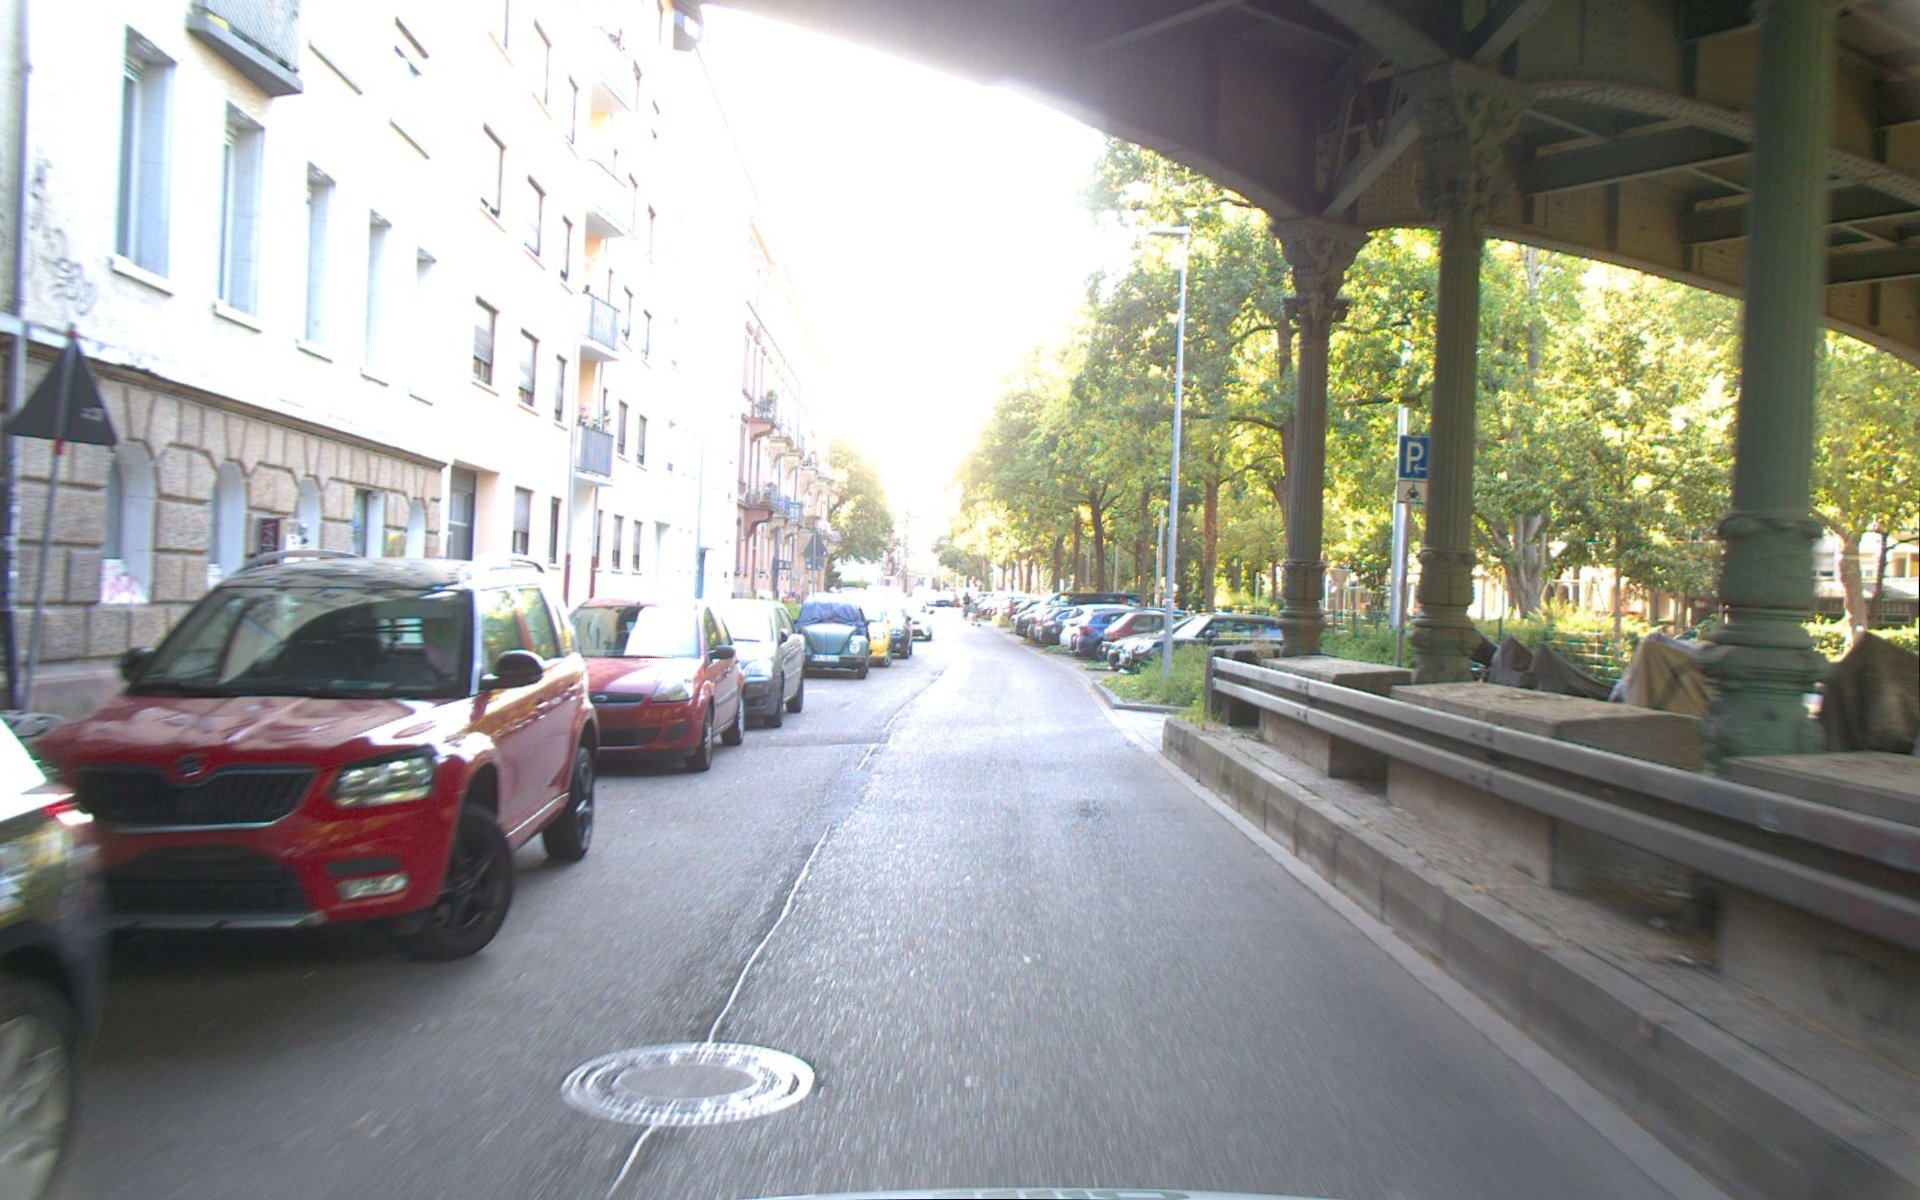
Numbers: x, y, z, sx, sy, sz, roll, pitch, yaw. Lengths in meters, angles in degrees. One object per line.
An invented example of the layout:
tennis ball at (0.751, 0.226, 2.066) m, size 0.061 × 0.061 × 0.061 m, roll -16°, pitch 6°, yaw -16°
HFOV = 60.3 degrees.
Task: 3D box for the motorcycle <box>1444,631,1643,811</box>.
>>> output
motorcycle at (5.146, 1.048, 14.640) m, size 1.567 × 1.433 × 0.712 m, roll 3°, pitch -2°, yaw 19°

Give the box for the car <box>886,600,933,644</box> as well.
car at (-1.827, 0.792, 60.859) m, size 1.634 × 1.455 × 4.000 m, roll 0°, pitch 1°, yaw 0°

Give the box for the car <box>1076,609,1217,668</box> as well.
car at (5.031, 1.043, 44.911) m, size 3.702 × 1.472 × 1.665 m, roll 2°, pitch -2°, yaw 4°

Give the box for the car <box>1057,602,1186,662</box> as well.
car at (4.887, 0.984, 50.297) m, size 3.705 × 1.675 × 1.664 m, roll 2°, pitch -2°, yaw -1°

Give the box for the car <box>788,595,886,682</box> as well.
car at (-2.354, 0.706, 32.322) m, size 1.534 × 1.544 × 3.782 m, roll 2°, pitch 0°, yaw 1°

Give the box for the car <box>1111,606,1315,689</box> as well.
car at (4.991, 0.939, 32.831) m, size 3.708 × 1.498 × 1.633 m, roll 2°, pitch -2°, yaw -5°

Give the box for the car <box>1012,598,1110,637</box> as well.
car at (4.569, 0.782, 75.336) m, size 4.310 × 1.619 × 1.837 m, roll 2°, pitch -1°, yaw -2°

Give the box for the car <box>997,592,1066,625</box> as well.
car at (4.321, 0.521, 100.499) m, size 4.133 × 1.896 × 1.761 m, roll 1°, pitch 0°, yaw 0°

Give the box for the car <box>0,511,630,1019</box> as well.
car at (-2.775, 0.589, 7.904) m, size 1.682 × 1.738 × 4.320 m, roll 1°, pitch 0°, yaw -3°

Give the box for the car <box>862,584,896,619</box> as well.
car at (-5.026, 0.102, 102.668) m, size 1.954 × 1.954 × 5.037 m, roll 4°, pitch -2°, yaw -2°

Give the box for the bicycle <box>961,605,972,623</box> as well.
bicycle at (0.441, 0.938, 110.674) m, size 0.628 × 1.119 × 1.943 m, roll 3°, pitch -2°, yaw -2°

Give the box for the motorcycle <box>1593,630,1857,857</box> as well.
motorcycle at (5.351, 0.979, 11.663) m, size 1.567 × 1.433 × 0.712 m, roll 3°, pitch -2°, yaw 19°

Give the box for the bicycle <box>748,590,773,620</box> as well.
bicycle at (-8.556, 0.200, 71.062) m, size 0.722 × 1.227 × 2.514 m, roll 3°, pitch 1°, yaw 0°

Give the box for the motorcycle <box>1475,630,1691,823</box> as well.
motorcycle at (5.107, 1.017, 13.627) m, size 1.567 × 1.433 × 0.712 m, roll 3°, pitch -2°, yaw 19°

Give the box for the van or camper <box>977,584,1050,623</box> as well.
van or camper at (3.798, 0.244, 117.472) m, size 4.883 × 2.419 × 2.183 m, roll 4°, pitch -2°, yaw -3°

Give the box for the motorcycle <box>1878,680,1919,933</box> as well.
motorcycle at (5.218, 1.003, 7.736) m, size 1.575 × 1.152 × 0.709 m, roll 4°, pitch -2°, yaw -18°

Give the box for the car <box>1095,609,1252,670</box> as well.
car at (5.453, 1.013, 42.464) m, size 3.708 × 1.426 × 1.764 m, roll 2°, pitch -2°, yaw -5°

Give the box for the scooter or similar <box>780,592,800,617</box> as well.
scooter or similar at (-9.163, 0.253, 89.069) m, size 0.767 × 1.243 × 2.703 m, roll 3°, pitch -2°, yaw -1°

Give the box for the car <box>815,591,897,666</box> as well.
car at (-2.308, 0.619, 37.543) m, size 1.668 × 1.552 × 3.772 m, roll 2°, pitch 0°, yaw -1°

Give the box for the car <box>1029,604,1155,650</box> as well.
car at (4.776, 0.991, 60.195) m, size 4.312 × 1.527 × 1.836 m, roll 2°, pitch -2°, yaw -4°

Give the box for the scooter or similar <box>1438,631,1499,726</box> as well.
scooter or similar at (7.389, 1.130, 24.080) m, size 0.467 × 1.321 × 1.325 m, roll 3°, pitch -2°, yaw 2°

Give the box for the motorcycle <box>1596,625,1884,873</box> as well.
motorcycle at (5.018, 0.933, 10.746) m, size 1.567 × 1.433 × 0.712 m, roll 3°, pitch -2°, yaw 19°

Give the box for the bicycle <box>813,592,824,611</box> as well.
bicycle at (-9.599, 0.110, 112.144) m, size 0.691 × 1.167 × 1.888 m, roll 3°, pitch -2°, yaw -4°

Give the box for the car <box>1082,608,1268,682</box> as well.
car at (4.506, 0.944, 35.053) m, size 3.704 × 1.426 × 1.827 m, roll 2°, pitch -2°, yaw 0°

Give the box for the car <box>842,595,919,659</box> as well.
car at (-1.992, 0.656, 42.419) m, size 1.704 × 1.505 × 4.000 m, roll 1°, pitch 0°, yaw 0°

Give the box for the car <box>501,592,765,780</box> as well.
car at (-2.895, 0.711, 15.441) m, size 1.655 × 1.466 × 3.999 m, roll 2°, pitch 0°, yaw -1°

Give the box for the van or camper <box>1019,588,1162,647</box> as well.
van or camper at (4.926, 0.656, 62.978) m, size 5.302 × 2.062 × 2.030 m, roll 2°, pitch 0°, yaw 1°

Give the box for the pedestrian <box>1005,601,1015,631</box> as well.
pedestrian at (2.629, 0.838, 86.960) m, size 0.372 × 1.543 × 0.519 m, roll 3°, pitch 2°, yaw 18°

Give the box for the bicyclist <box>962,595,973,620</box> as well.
bicyclist at (0.485, 0.511, 110.658) m, size 0.615 × 1.600 × 0.802 m, roll 3°, pitch -1°, yaw -2°

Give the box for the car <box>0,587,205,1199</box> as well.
car at (-2.807, 0.691, 2.274) m, size 1.682 × 1.490 × 3.999 m, roll 1°, pitch 0°, yaw 0°

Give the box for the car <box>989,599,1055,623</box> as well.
car at (3.933, 0.701, 104.940) m, size 4.131 × 1.478 × 1.649 m, roll 1°, pitch 0°, yaw 3°

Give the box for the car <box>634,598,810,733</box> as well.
car at (-2.823, 0.732, 20.366) m, size 1.603 × 1.492 × 3.999 m, roll -1°, pitch 0°, yaw 0°

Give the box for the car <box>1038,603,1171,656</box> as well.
car at (4.798, 0.987, 55.022) m, size 4.307 × 1.605 × 1.665 m, roll 2°, pitch -2°, yaw 4°

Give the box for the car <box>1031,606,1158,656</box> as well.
car at (4.673, 1.074, 57.838) m, size 4.308 × 1.605 × 1.664 m, roll 2°, pitch -2°, yaw 1°

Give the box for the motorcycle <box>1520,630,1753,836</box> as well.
motorcycle at (5.176, 0.998, 12.760) m, size 1.567 × 1.433 × 0.712 m, roll 3°, pitch -2°, yaw 19°

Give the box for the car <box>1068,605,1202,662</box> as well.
car at (5.014, 0.964, 47.666) m, size 3.704 × 1.499 × 1.664 m, roll 2°, pitch -2°, yaw 1°

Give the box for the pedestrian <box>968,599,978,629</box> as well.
pedestrian at (0.722, 0.764, 90.409) m, size 0.372 × 1.612 × 0.519 m, roll 3°, pitch 2°, yaw 18°
